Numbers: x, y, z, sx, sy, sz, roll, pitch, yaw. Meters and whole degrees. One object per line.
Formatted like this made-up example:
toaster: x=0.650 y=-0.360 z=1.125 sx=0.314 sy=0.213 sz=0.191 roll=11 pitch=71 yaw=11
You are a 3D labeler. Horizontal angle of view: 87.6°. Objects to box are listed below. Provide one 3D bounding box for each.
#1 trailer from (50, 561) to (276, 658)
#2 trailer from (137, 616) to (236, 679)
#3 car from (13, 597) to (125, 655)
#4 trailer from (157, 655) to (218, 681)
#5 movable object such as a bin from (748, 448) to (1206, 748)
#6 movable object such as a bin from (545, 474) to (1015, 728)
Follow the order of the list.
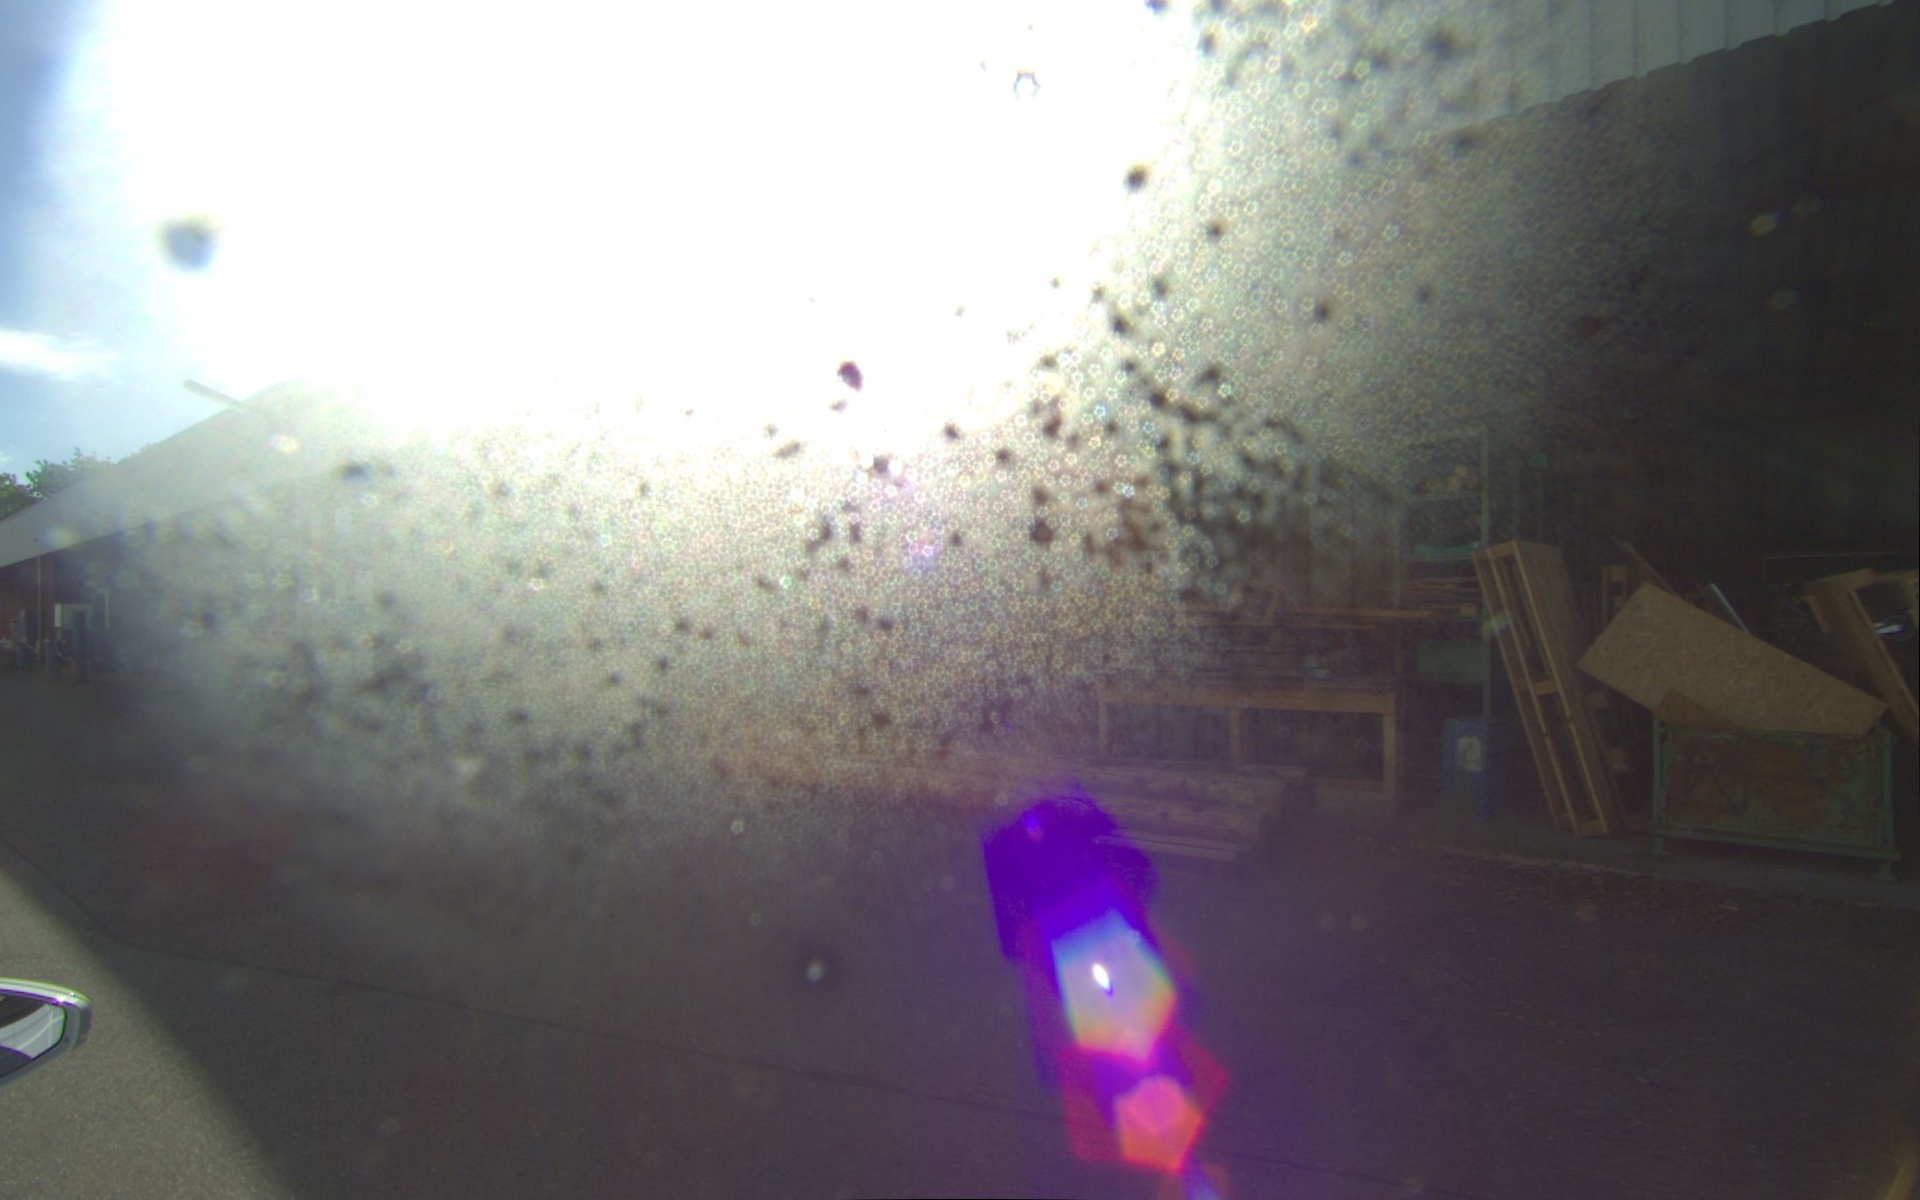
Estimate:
trailer: x=-30.682 y=0.357 z=38.790 sx=2.790 sy=3.415 sz=6.362 roll=-1 pitch=0 yaw=38
trailer: x=-20.431 y=1.242 z=26.457 sx=1.887 sy=1.538 sz=1.542 roll=1 pitch=-2 yaw=35
car: x=-39.902 y=1.112 z=44.899 sx=1.977 sy=2.474 sz=3.489 roll=-1 pitch=0 yaw=40
trailer: x=-18.422 y=1.610 z=23.878 sx=0.723 sy=0.575 sz=0.968 roll=1 pitch=-2 yaw=35
movable object such as a bin: x=0.592 y=-0.003 z=13.150 sx=2.654 sy=2.943 sz=6.326 roll=-1 pitch=0 yaw=39
movable object such as a bin: x=-2.287 y=0.028 z=15.106 sx=2.654 sy=2.943 sz=6.905 roll=-1 pitch=0 yaw=39
